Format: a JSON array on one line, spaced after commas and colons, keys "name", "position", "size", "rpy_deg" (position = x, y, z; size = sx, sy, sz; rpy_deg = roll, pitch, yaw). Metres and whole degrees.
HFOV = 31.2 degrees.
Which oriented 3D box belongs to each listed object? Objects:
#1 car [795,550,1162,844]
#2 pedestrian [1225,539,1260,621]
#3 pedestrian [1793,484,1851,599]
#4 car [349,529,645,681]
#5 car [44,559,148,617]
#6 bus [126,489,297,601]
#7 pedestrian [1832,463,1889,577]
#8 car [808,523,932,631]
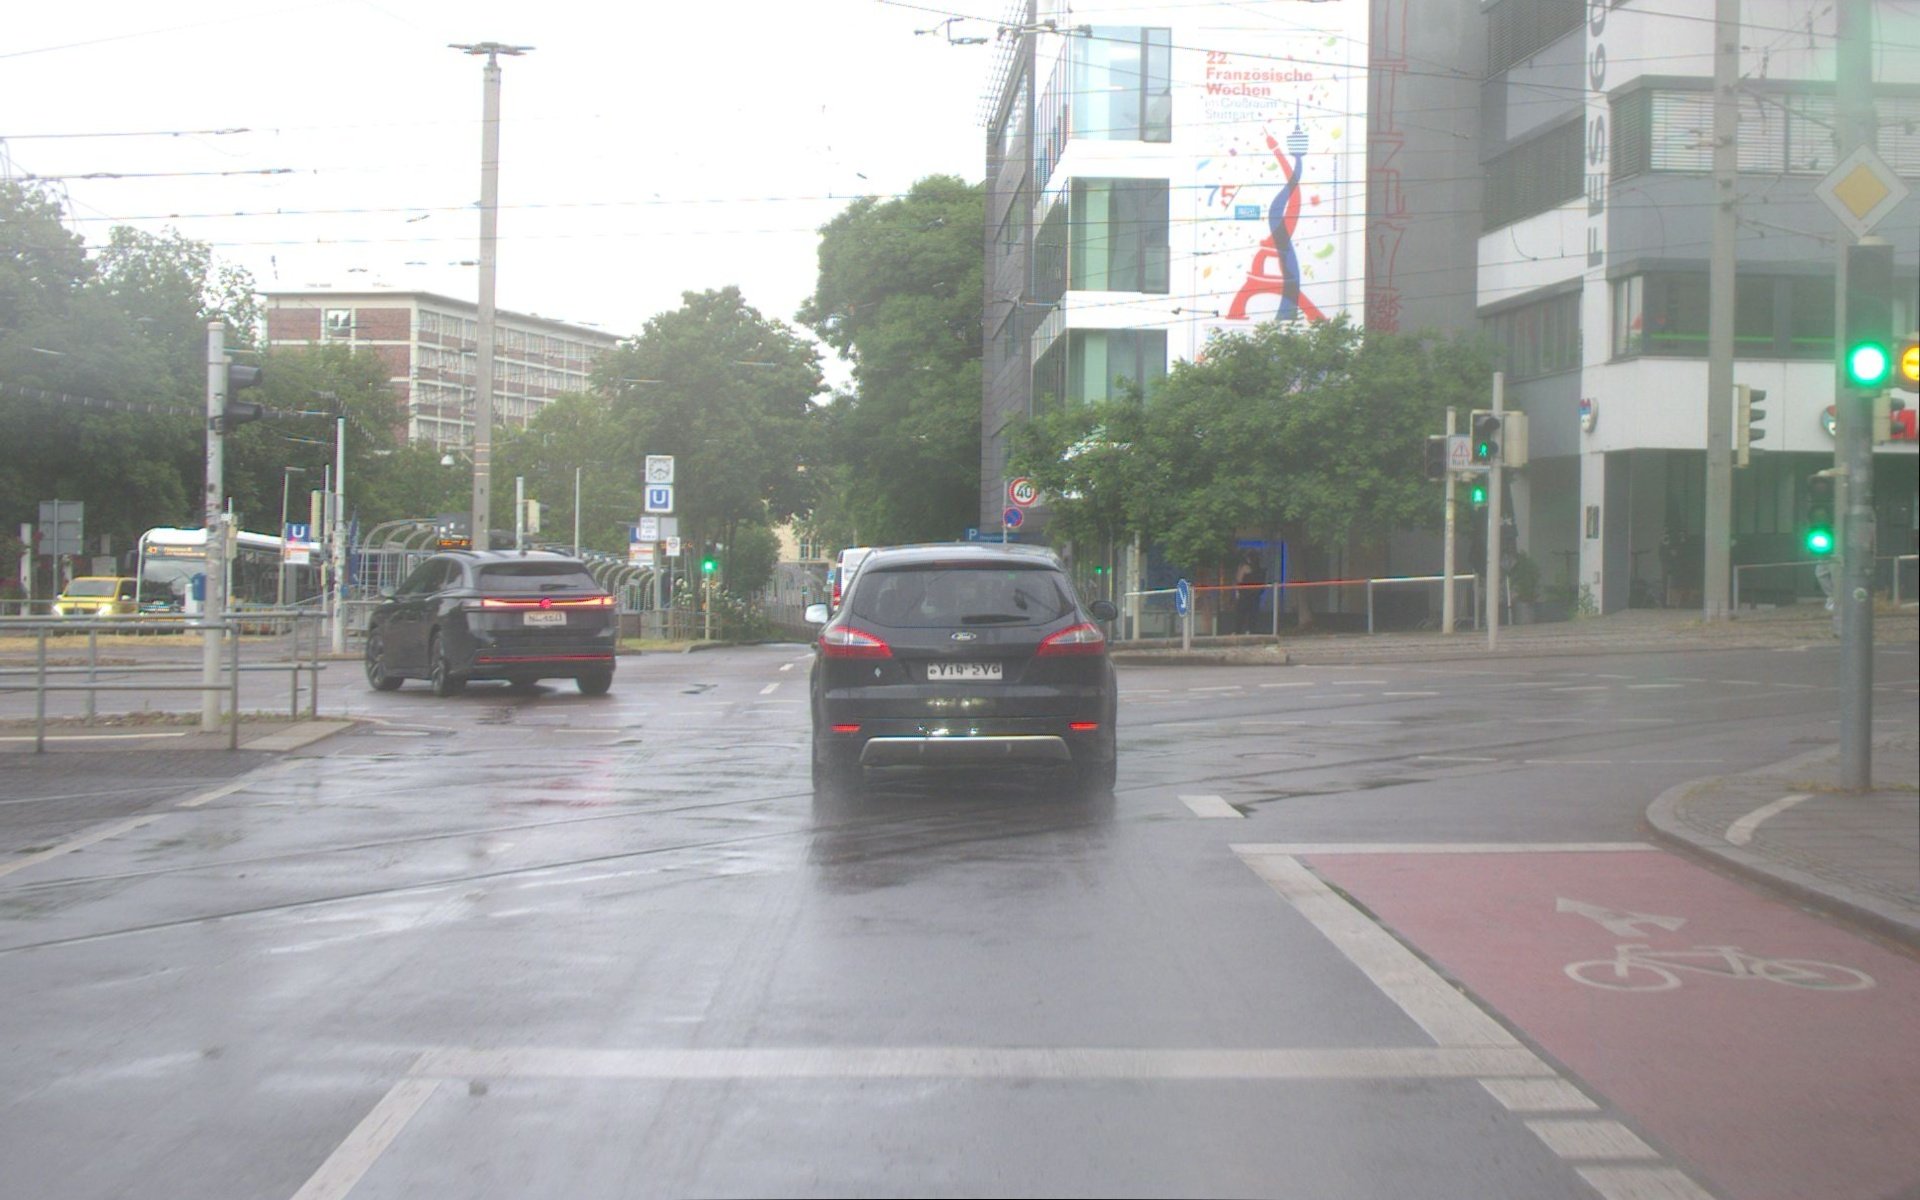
[{"name": "car", "position": [0.068, 0.516, 21.493], "size": [2.036, 1.579, 4.392], "rpy_deg": [1, 1, -1]}, {"name": "pedestrian", "position": [5.379, -0.383, 65.546], "size": [0.542, 1.558, 0.521], "rpy_deg": [0, 1, 20]}, {"name": "pedestrian", "position": [14.429, -0.971, 57.531], "size": [0.718, 1.907, 0.696], "rpy_deg": [0, 1, 37]}, {"name": "car", "position": [-5.067, 0.012, 37.031], "size": [2.098, 1.500, 4.733], "rpy_deg": [-1, 1, -21]}, {"name": "car", "position": [-25.982, -0.379, 103.553], "size": [1.993, 1.640, 4.537], "rpy_deg": [-1, 1, 0]}, {"name": "bus", "position": [-23.319, -1.733, 107.890], "size": [3.076, 3.289, 12.524], "rpy_deg": [-1, 1, -2]}, {"name": "pedestrian", "position": [15.203, -1.345, 58.030], "size": [0.718, 1.907, 0.696], "rpy_deg": [0, 1, 37]}, {"name": "car", "position": [-1.581, -0.450, 62.057], "size": [2.036, 1.833, 4.392], "rpy_deg": [1, 1, 1]}]
